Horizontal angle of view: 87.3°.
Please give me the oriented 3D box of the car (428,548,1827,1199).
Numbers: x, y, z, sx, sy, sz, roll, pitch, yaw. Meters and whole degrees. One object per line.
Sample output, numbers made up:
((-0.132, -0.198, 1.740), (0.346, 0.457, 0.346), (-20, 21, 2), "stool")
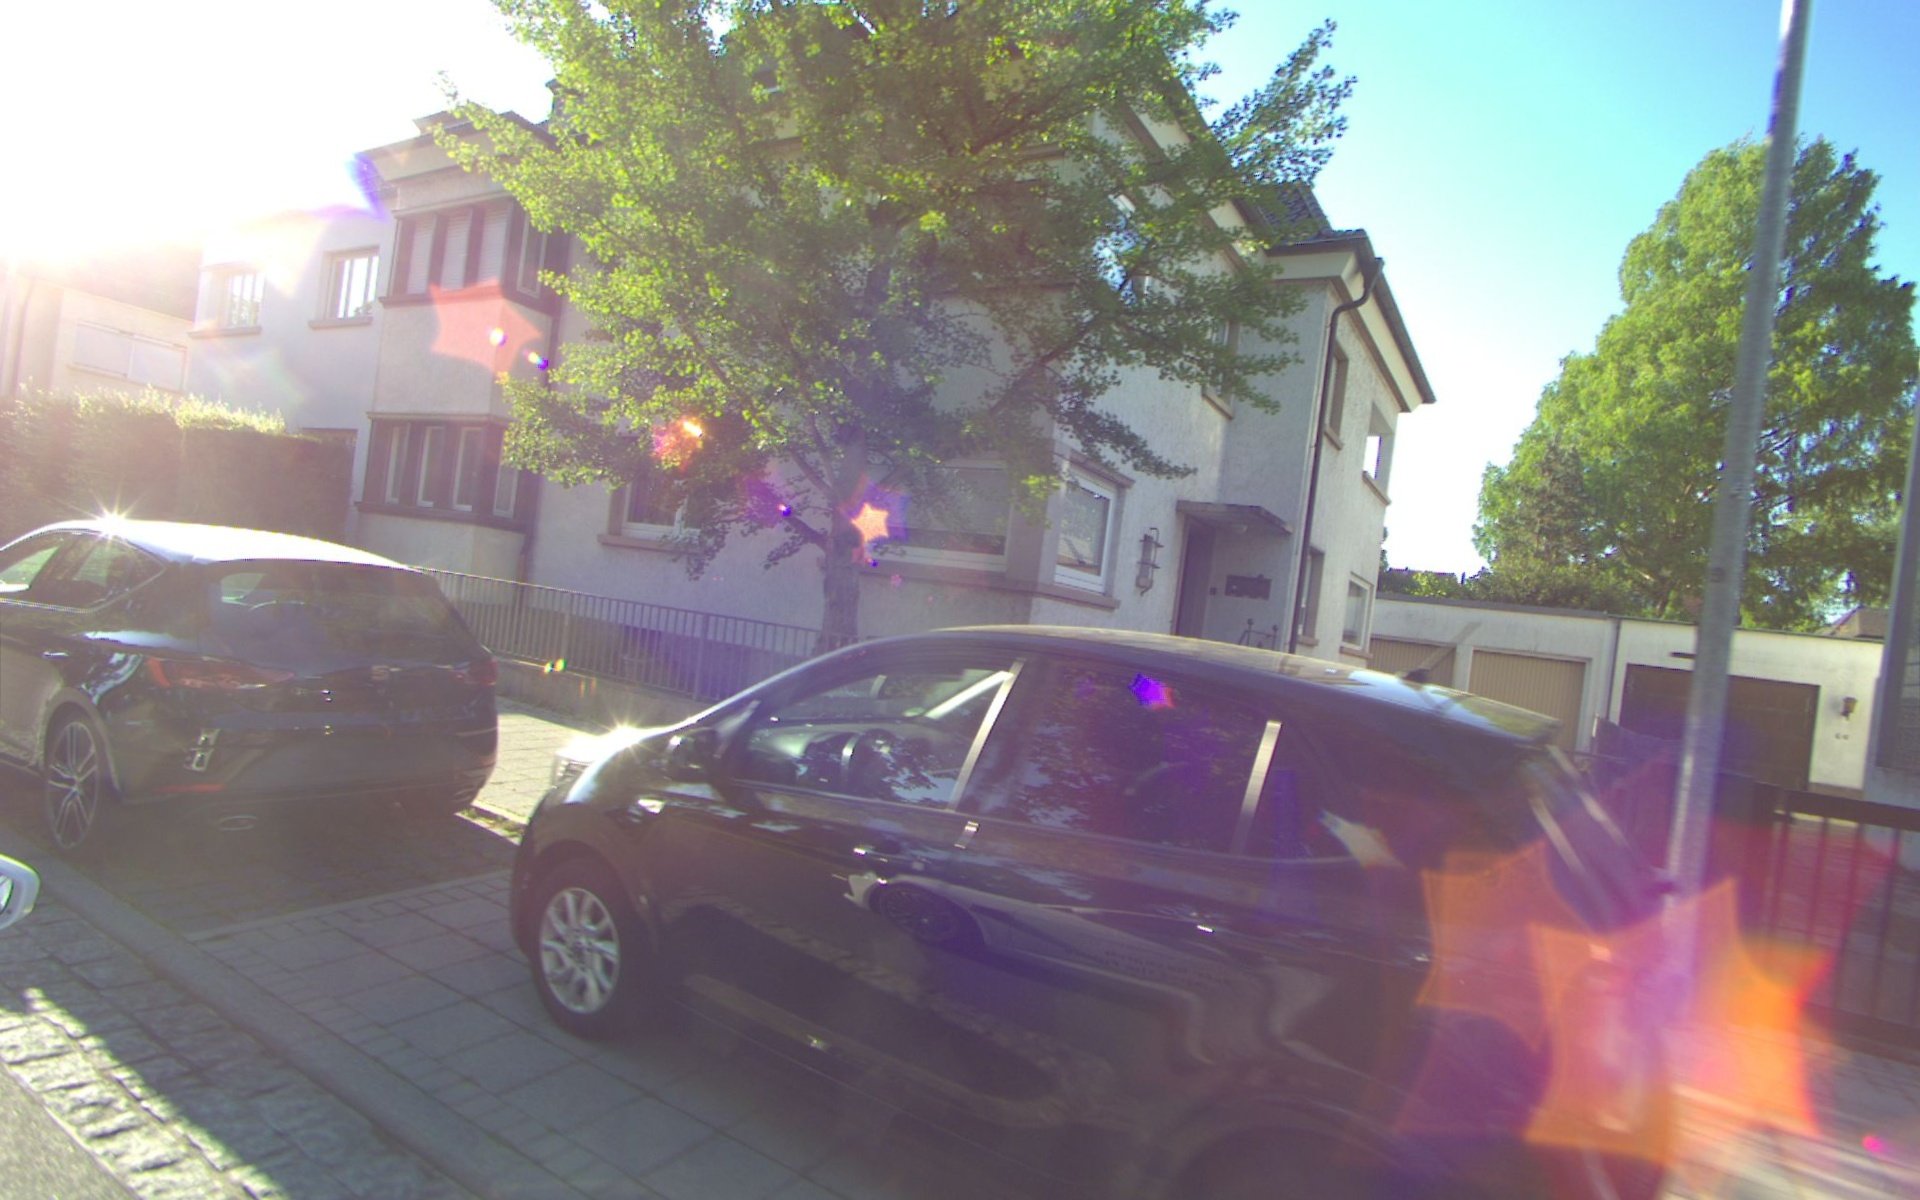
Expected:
((0.134, 0.788, 3.176), (3.658, 1.512, 1.658), (6, 0, 36), "car")

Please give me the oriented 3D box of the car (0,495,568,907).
((-4.306, 0.272, 5.536), (4.127, 1.467, 1.739), (6, 0, 31), "car")
